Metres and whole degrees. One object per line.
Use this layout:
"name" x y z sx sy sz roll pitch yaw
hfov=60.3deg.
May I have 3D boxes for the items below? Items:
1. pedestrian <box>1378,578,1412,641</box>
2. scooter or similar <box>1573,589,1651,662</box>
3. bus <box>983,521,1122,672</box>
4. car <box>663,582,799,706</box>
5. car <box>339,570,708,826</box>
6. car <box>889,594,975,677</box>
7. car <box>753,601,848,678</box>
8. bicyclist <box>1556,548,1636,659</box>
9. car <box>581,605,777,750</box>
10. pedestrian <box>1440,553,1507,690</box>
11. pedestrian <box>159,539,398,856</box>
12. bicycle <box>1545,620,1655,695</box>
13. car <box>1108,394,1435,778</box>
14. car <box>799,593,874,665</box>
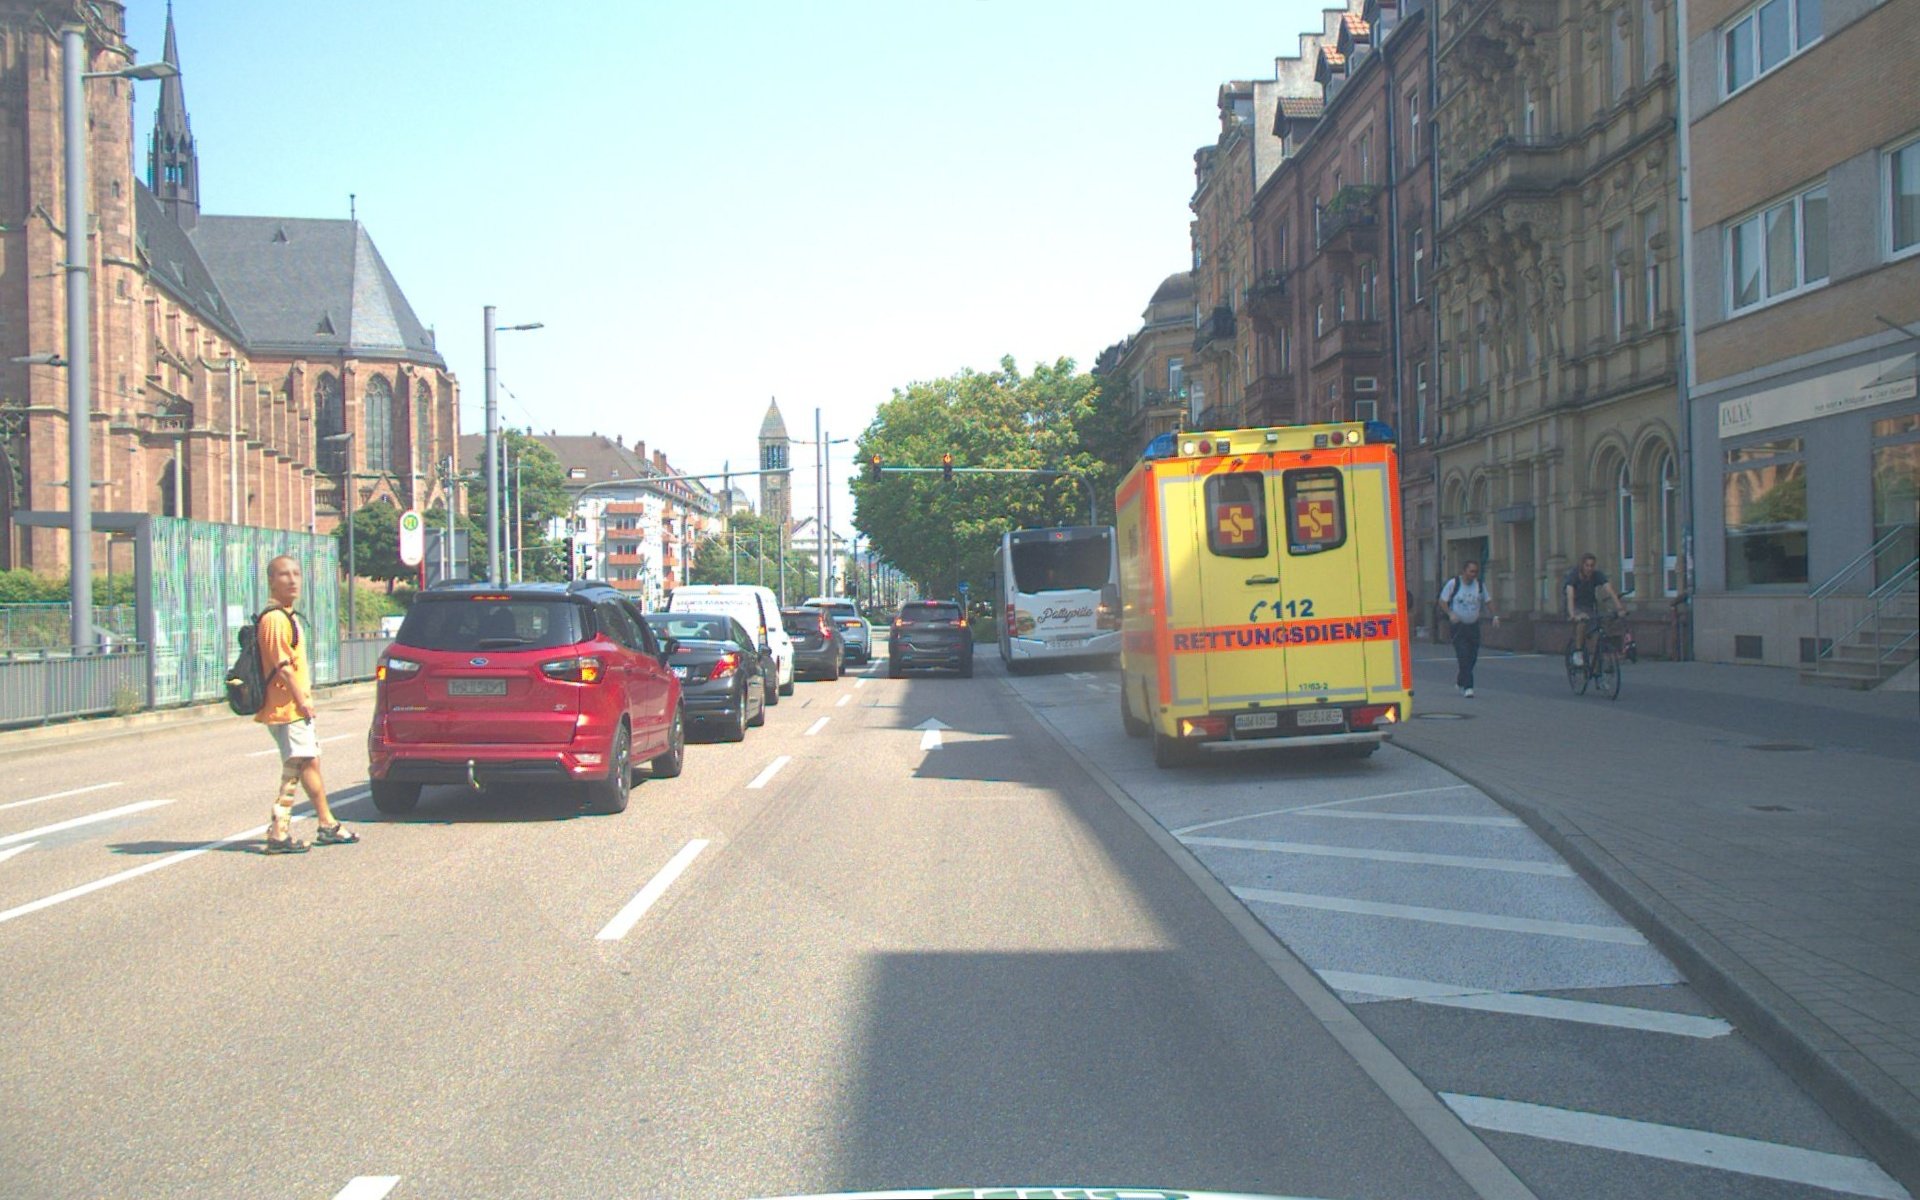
"pedestrian" 11.409 0.249 43.383 0.611 1.621 0.695 -1 0 -7
"scooter or similar" 11.338 0.439 28.783 0.505 1.217 1.296 -1 0 -20
"bus" 2.020 -0.063 40.809 2.482 3.085 12.433 -1 0 -1
"car" -3.597 0.685 26.588 1.754 1.811 3.998 -1 -1 -2
"car" -3.193 0.641 12.955 1.726 1.646 4.083 -1 0 1
"car" -0.651 0.768 36.391 1.754 1.707 3.998 -1 -1 -2
"car" -3.312 0.819 34.939 1.754 1.498 3.998 -1 -1 -2
"bicyclist" 7.912 0.041 20.587 0.737 1.345 0.581 -1 0 -1
"car" -3.174 0.817 19.402 1.754 1.456 3.998 -1 0 -3
"pedestrian" 6.515 0.263 20.965 0.683 1.696 0.602 -2 0 25
"pedestrian" -4.013 0.565 9.793 1.043 1.782 0.764 -1 -1 6
"bicycle" 7.956 0.708 20.643 0.577 0.870 1.774 -3 -1 -2
"car" 2.712 -0.125 15.902 2.251 2.939 5.601 -2 0 3
"car" -3.156 0.743 42.888 1.754 1.728 3.998 -1 -1 -2
